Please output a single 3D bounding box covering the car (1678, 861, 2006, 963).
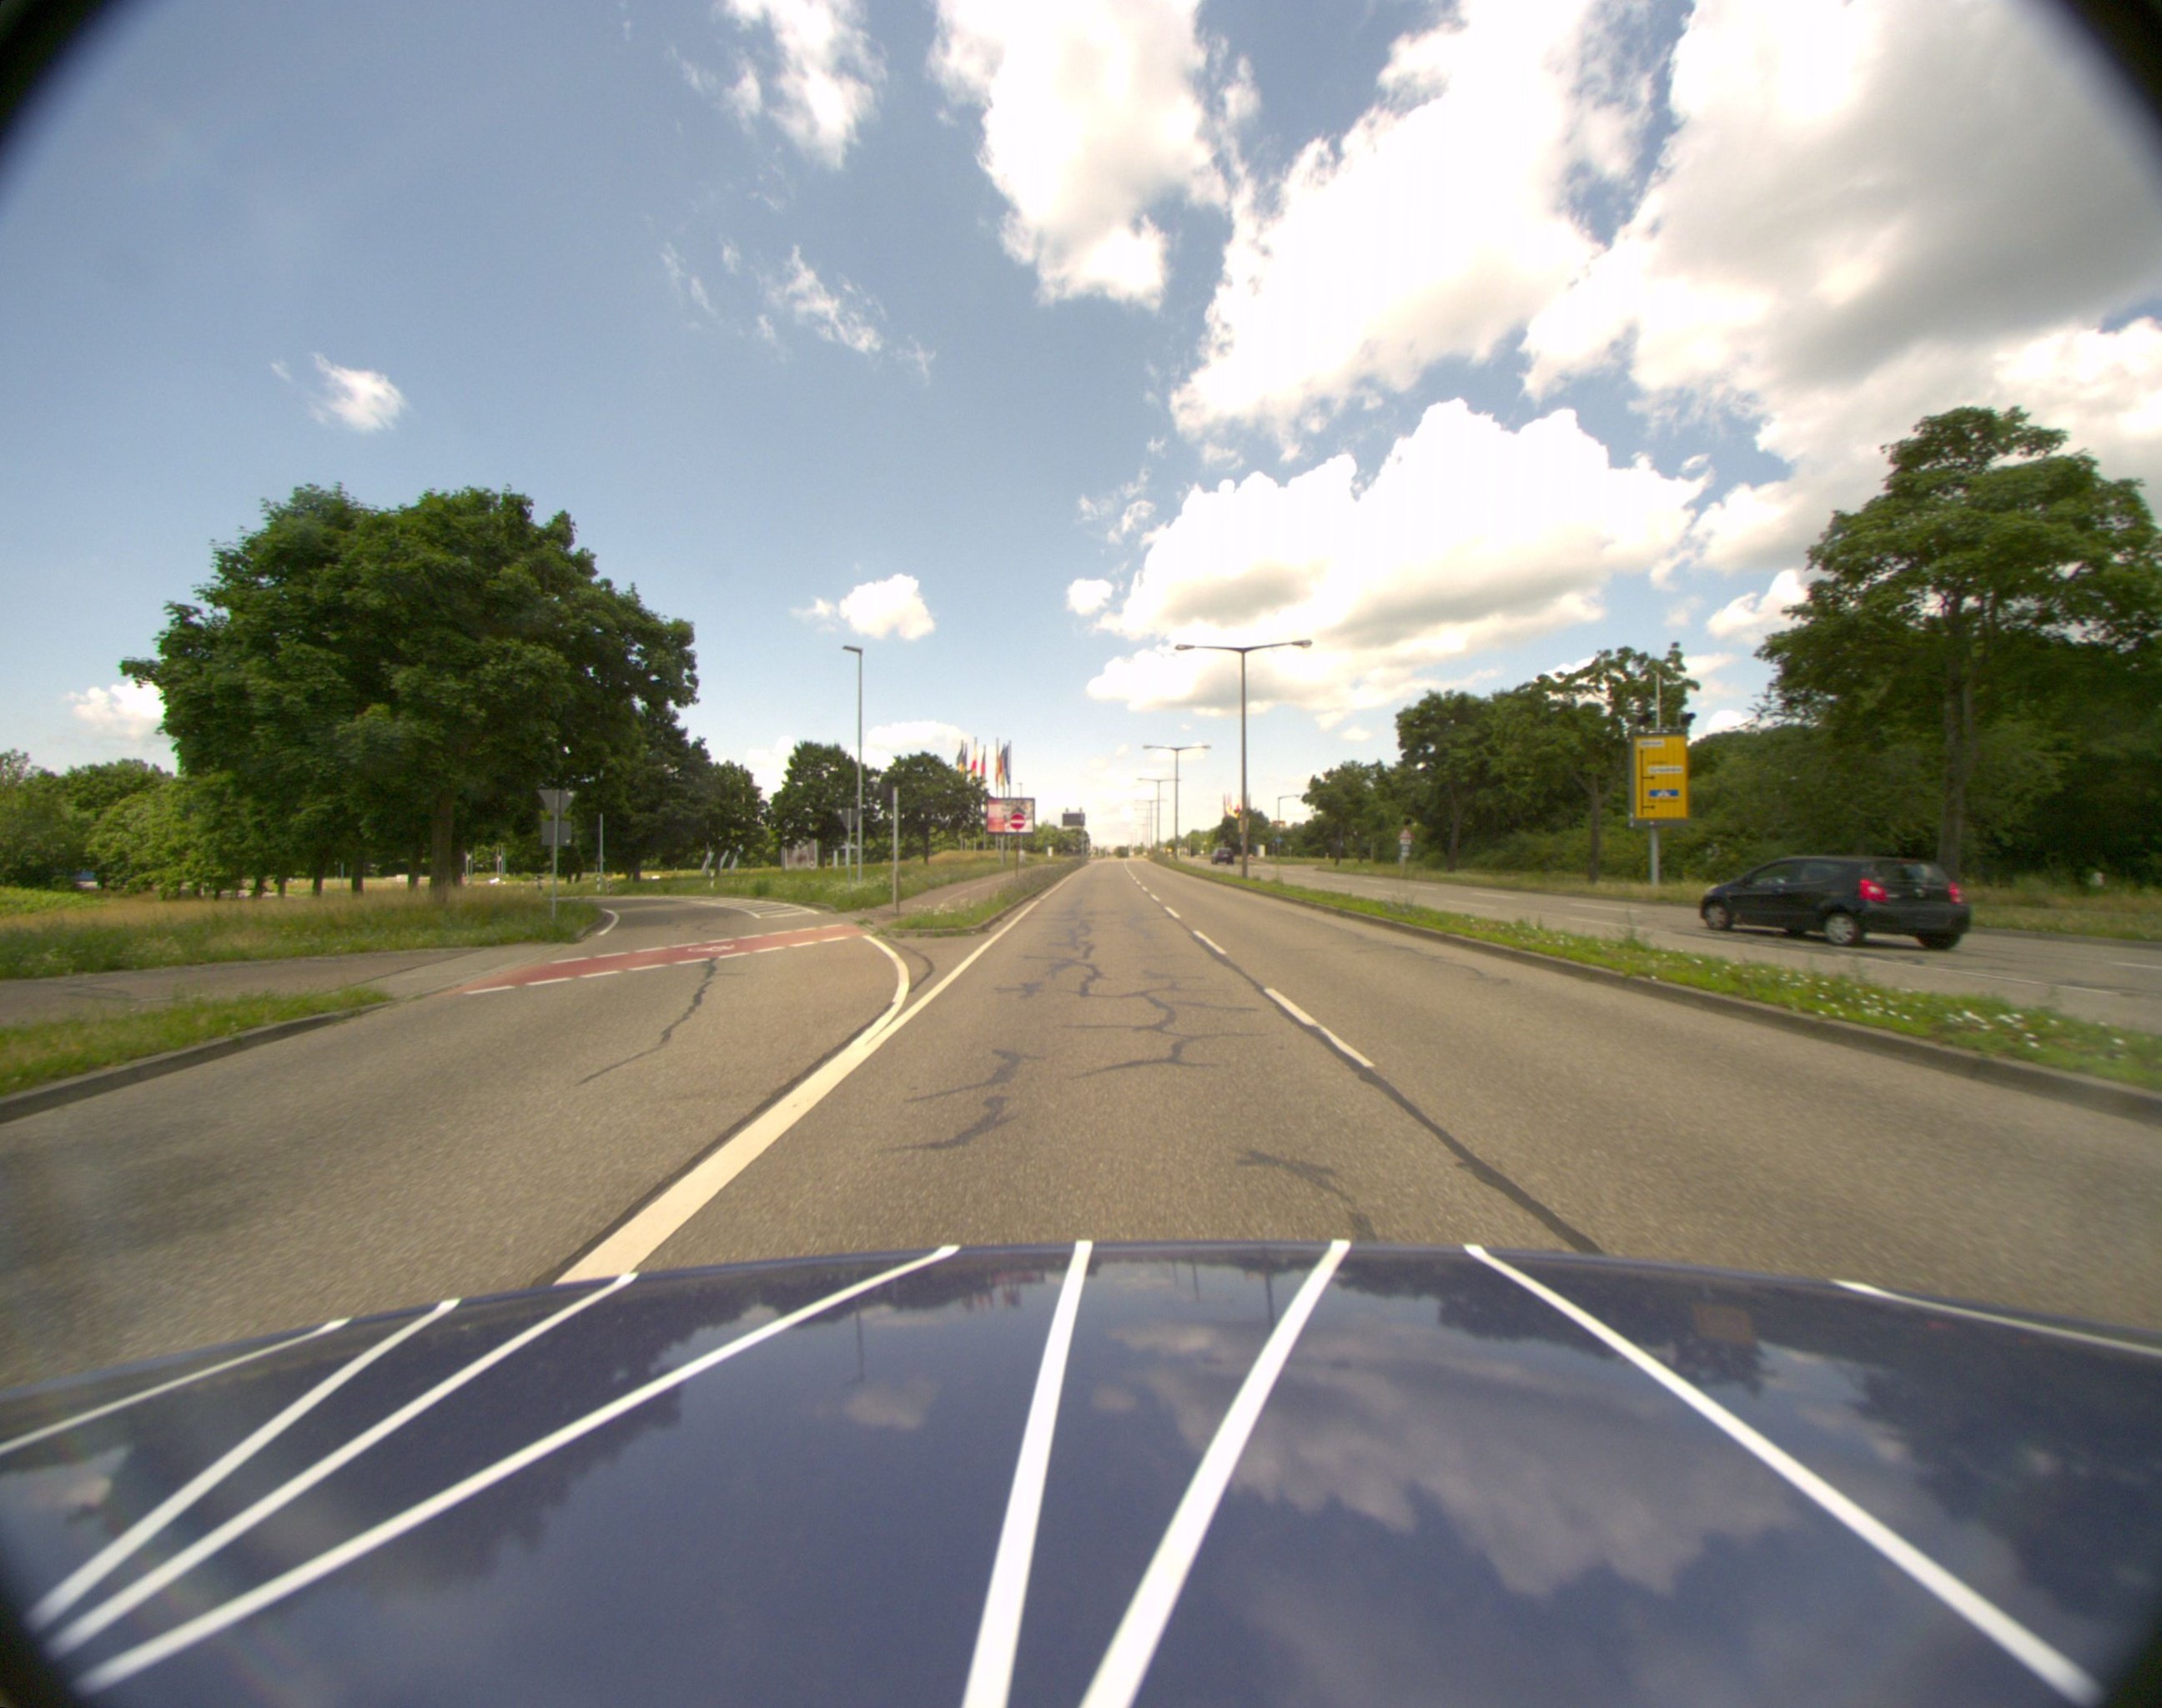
[{"bbox_3d":[12.684,0.859,13.026,1.707,1.419,3.671,0,1,-9],"label":"car"}]

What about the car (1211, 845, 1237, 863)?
[{"bbox_3d":[15.178,-0.011,80.951,1.881,1.780,4.728,2,1,1],"label":"car"}]
